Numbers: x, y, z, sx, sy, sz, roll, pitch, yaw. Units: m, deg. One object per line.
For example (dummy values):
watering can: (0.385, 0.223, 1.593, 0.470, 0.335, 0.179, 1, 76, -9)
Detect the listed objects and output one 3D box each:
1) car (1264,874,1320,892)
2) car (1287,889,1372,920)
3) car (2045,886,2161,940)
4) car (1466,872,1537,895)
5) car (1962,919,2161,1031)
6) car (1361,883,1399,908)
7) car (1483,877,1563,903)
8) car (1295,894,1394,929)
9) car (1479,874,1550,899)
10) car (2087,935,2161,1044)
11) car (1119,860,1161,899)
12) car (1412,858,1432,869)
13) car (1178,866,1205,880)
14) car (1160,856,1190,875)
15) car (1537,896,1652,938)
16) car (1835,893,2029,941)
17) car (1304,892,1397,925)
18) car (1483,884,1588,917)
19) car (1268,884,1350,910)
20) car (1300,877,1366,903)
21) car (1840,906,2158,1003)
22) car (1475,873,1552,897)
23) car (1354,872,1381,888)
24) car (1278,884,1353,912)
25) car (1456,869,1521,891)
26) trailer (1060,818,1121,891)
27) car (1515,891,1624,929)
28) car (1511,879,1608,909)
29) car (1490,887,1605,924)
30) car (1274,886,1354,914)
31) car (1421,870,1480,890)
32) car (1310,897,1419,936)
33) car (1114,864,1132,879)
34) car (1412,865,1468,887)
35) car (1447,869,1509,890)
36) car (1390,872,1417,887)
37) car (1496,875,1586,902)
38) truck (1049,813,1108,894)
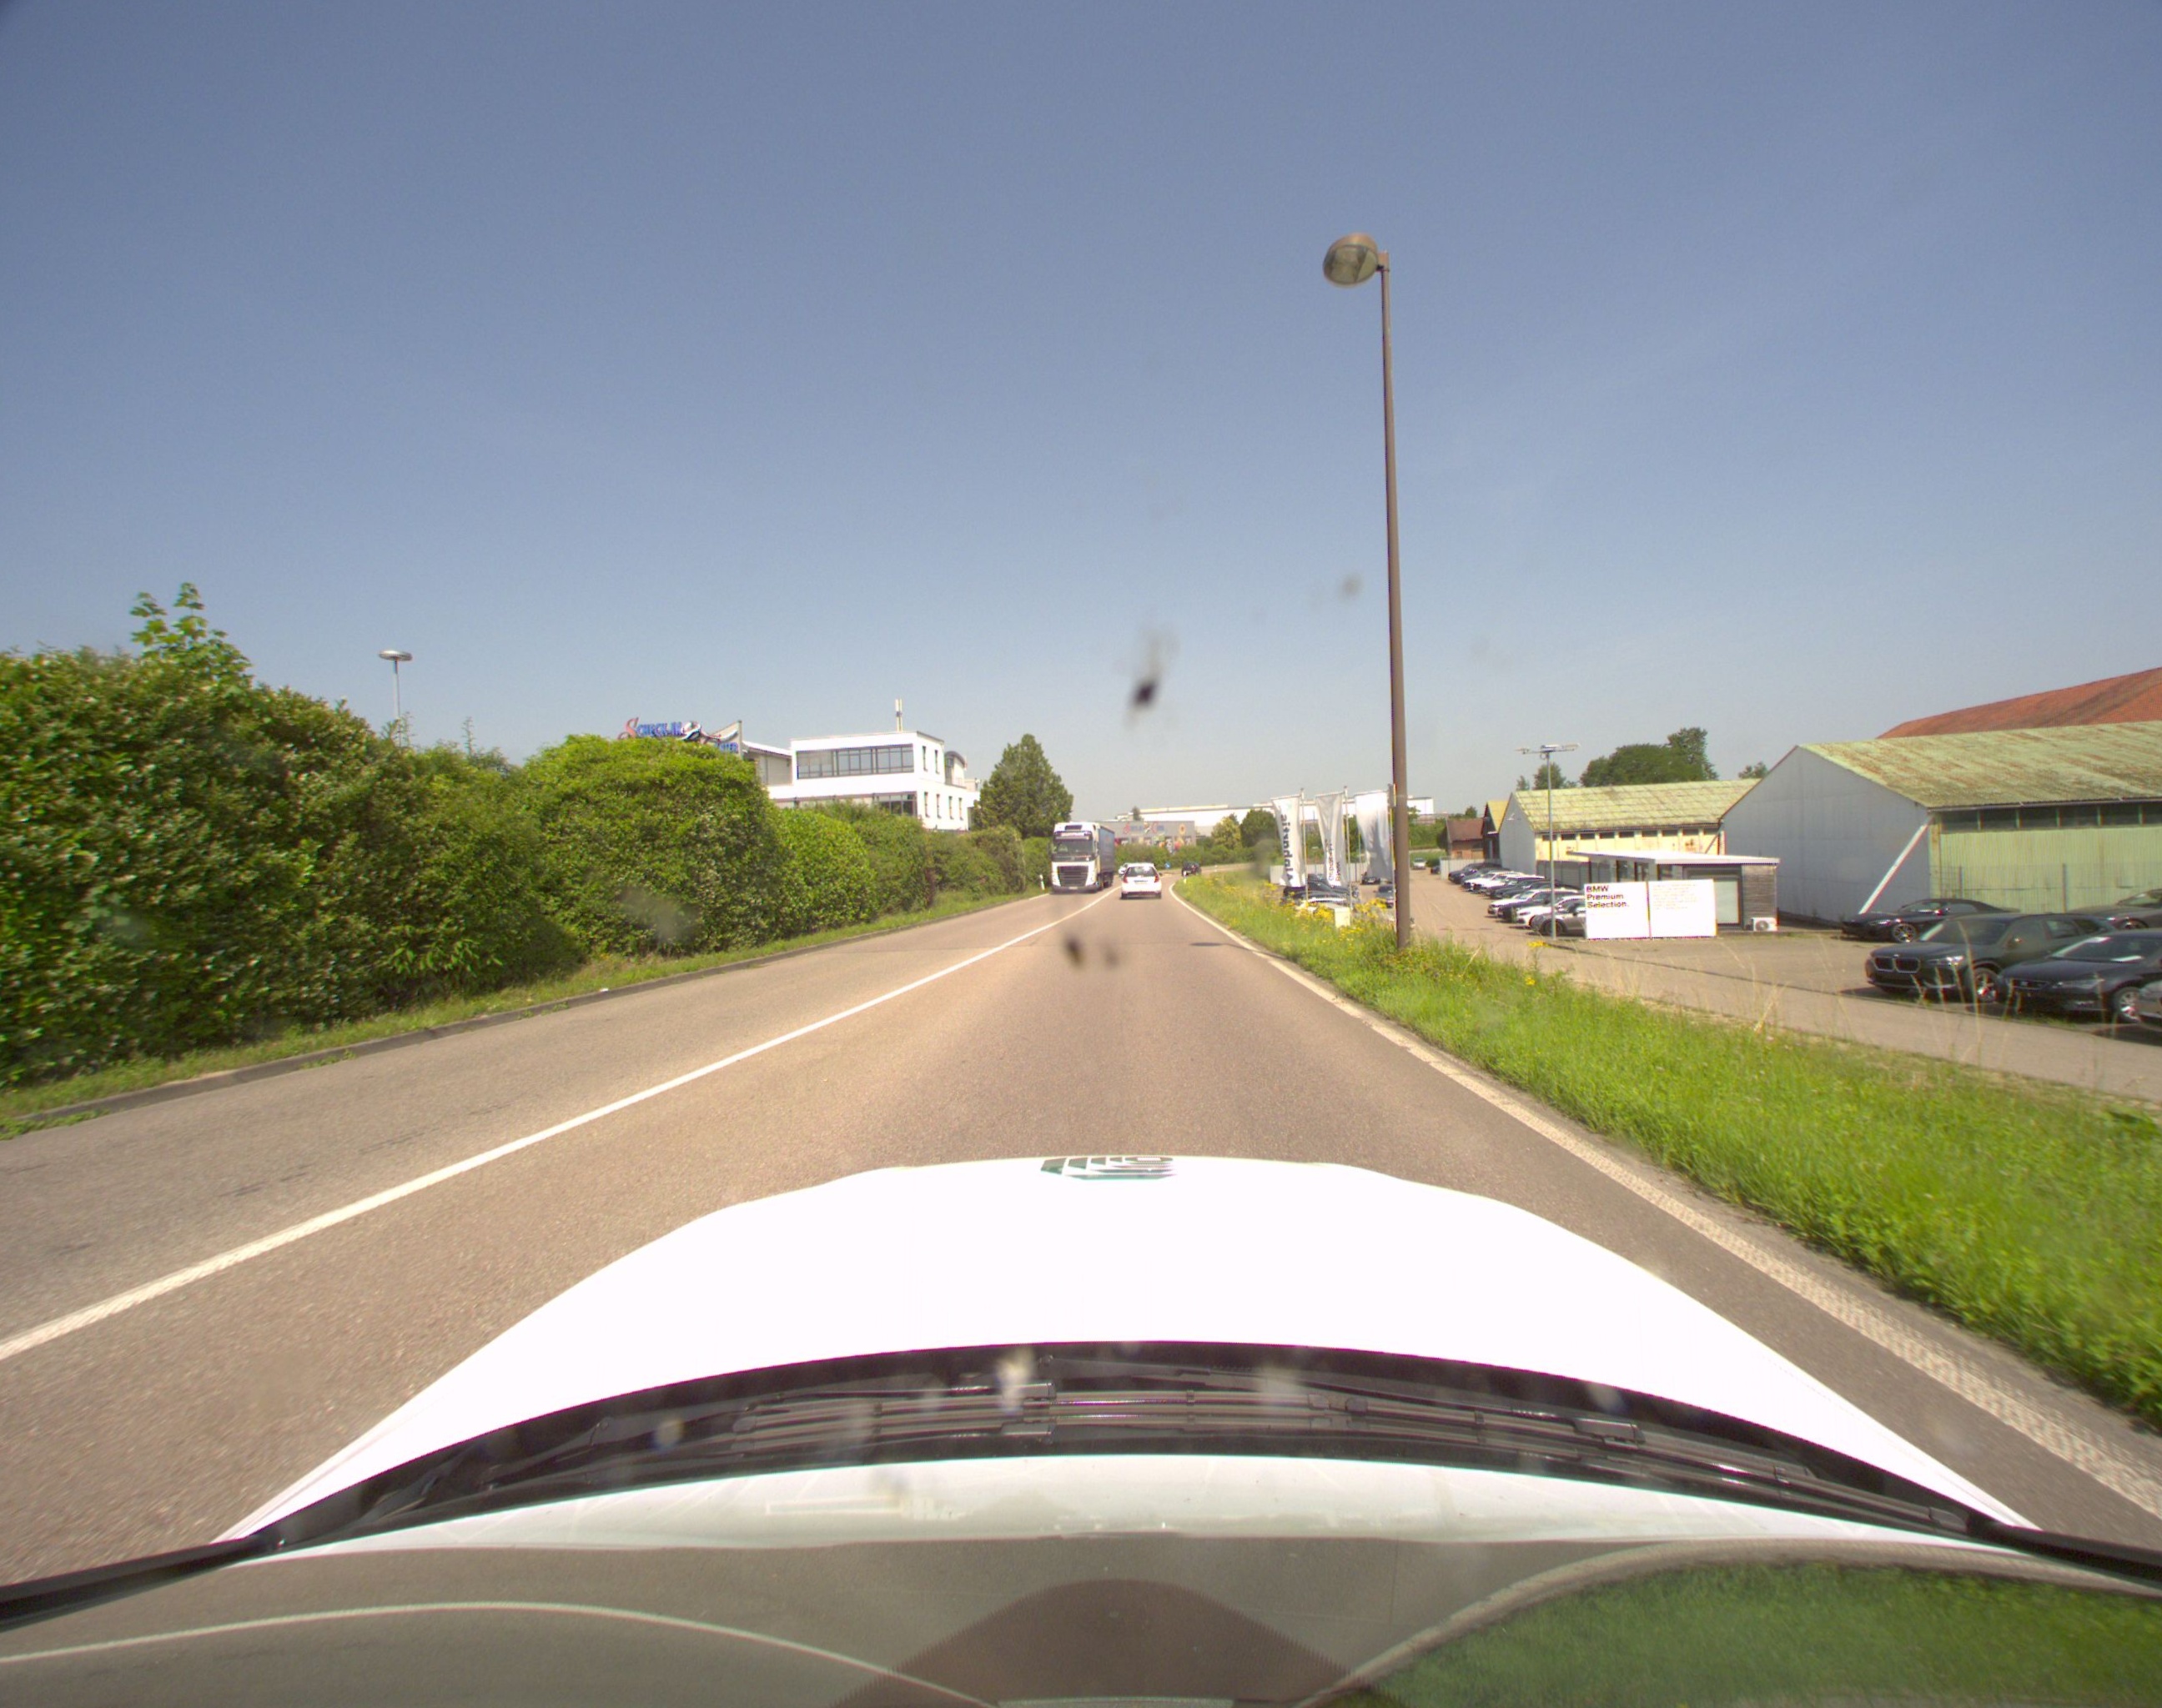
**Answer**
car: (19.258, 2.652, 74.449, 4.583, 1.605, 1.868, -2, 0, 32)
car: (13.662, 2.752, 44.850, 4.118, 1.523, 1.868, -2, -1, 33)
car: (32.264, 1.715, 24.124, 4.410, 1.471, 1.991, -2, -1, 16)
car: (32.383, 2.259, 62.836, 4.594, 1.523, 1.907, -2, 0, -7)
car: (18.727, 2.073, 14.542, 3.982, 1.552, 1.996, -3, -3, -6)
car: (19.881, 2.735, 54.288, 2.118, 1.457, 4.552, -2, -1, 18)
car: (29.333, 2.374, 54.137, 4.302, 1.523, 1.795, -2, -1, -2)
car: (12.449, 2.684, 38.591, 4.118, 1.523, 1.762, -2, -1, 33)
car: (30.308, 2.265, 56.988, 3.986, 1.523, 1.757, -2, -1, -2)
car: (18.533, 1.918, 12.078, 4.754, 1.508, 1.998, -4, -3, -2)
car: (2.671, 1.104, 36.850, 1.773, 1.603, 3.897, 1, 0, 4)
car: (45.724, 1.304, 109.292, 1.974, 1.398, 4.025, -2, -1, 29)
car: (12.083, 2.046, 88.806, 1.813, 1.470, 4.433, -2, -1, 22)
car: (10.664, 1.285, 91.887, 1.975, 2.014, 4.024, -2, -1, 28)
car: (20.489, 2.466, 32.620, 3.754, 1.523, 1.762, -2, -1, 31)
car: (26.889, 1.975, 25.888, 3.908, 1.376, 1.726, -2, -1, 16)
car: (13.664, 2.717, 41.341, 4.118, 1.523, 1.868, -2, -1, 32)
car: (23.782, 2.427, 42.778, 4.399, 1.523, 1.937, -2, -1, 9)
car: (14.376, 2.683, 51.419, 4.583, 1.523, 1.868, -2, -1, 36)
car: (18.537, 2.628, 60.007, 4.181, 1.700, 1.931, -2, 1, 41)
car: (18.950, 2.011, 16.963, 4.474, 1.640, 2.143, -2, -2, -6)
car: (31.892, 2.282, 60.082, 4.634, 1.523, 1.910, -2, -1, -2)
car: (29.868, 2.694, 84.718, 1.833, 1.534, 4.672, -2, -1, 29)
car: (16.322, 3.043, 56.688, 4.583, 1.700, 1.868, -2, 1, 38)
car: (32.868, 2.087, 65.738, 4.320, 1.523, 1.907, -2, 0, -7)
trailer: (0.885, 0.113, 55.257, 2.656, 4.241, 14.590, -1, -1, 6)
car: (21.445, 2.463, 35.916, 3.922, 1.523, 1.761, -2, -1, 25)
car: (28.292, 2.337, 48.252, 4.592, 1.523, 1.931, -2, -1, -2)
car: (22.405, 2.468, 39.253, 4.405, 1.523, 1.934, -2, -1, 4)
car: (13.773, 2.720, 48.161, 4.118, 1.523, 1.868, -2, -1, 33)
car: (32.146, 2.270, 70.890, 4.320, 1.523, 1.907, -2, 0, -7)
car: (12.267, 2.673, 35.364, 4.118, 1.523, 1.701, -2, -1, 37)
car: (4.384, 1.765, 84.736, 1.821, 1.470, 4.414, -1, -1, 3)
car: (33.105, 2.041, 75.107, 4.320, 1.804, 1.907, -2, 0, -7)
car: (33.182, 2.112, 68.184, 4.320, 1.576, 1.907, -2, 0, -7)
car: (33.034, 2.579, 83.334, 1.974, 1.398, 4.025, -2, -1, 29)
car: (28.816, 2.147, 51.112, 4.592, 1.523, 1.931, -2, -1, -2)
truck: (-0.040, 0.002, 46.812, 2.500, 4.257, 6.123, -3, -1, 6)
